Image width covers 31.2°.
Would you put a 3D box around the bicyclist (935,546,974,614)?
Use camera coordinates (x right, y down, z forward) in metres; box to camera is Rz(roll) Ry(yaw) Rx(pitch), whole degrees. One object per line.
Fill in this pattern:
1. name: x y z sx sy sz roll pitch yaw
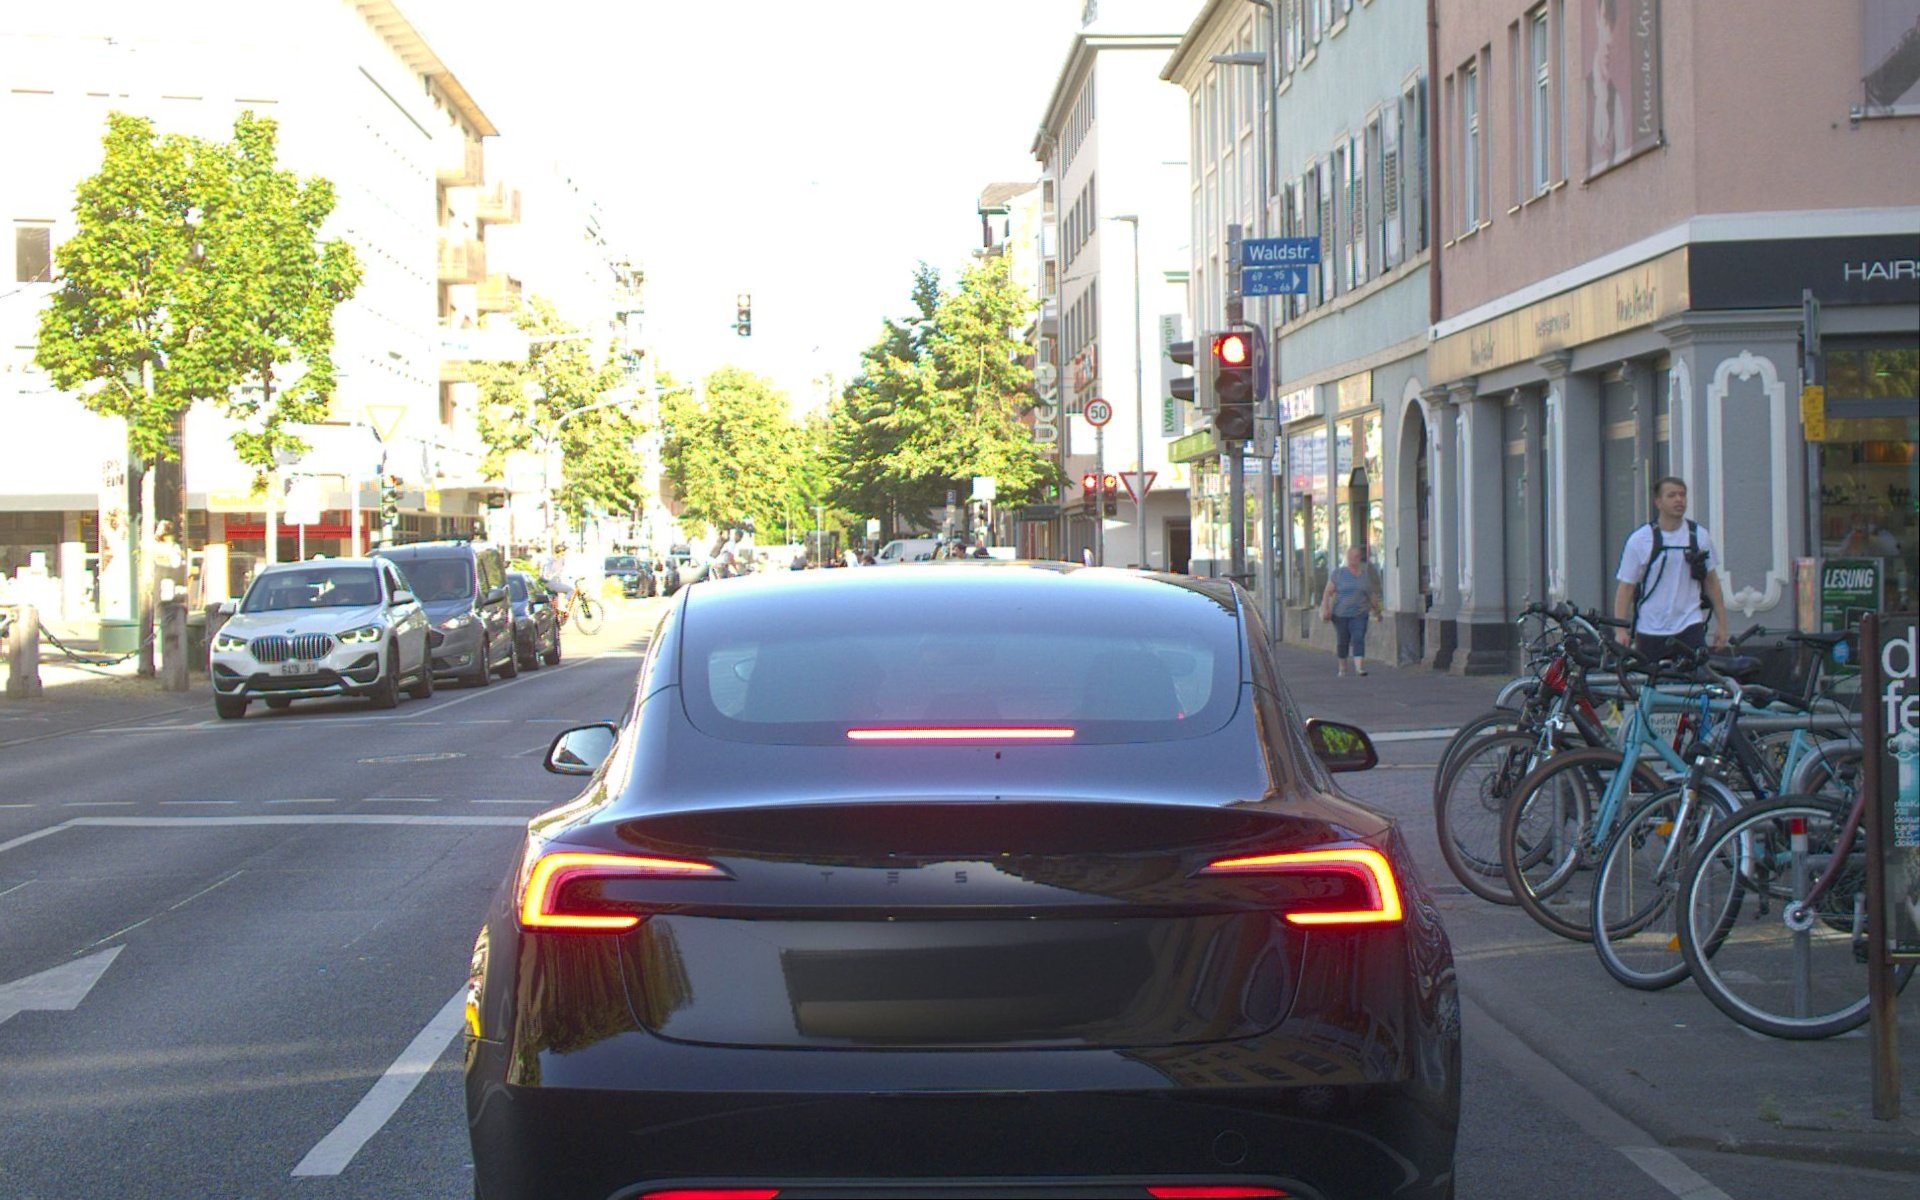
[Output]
1. bicyclist: -0.107 -0.407 69.940 0.669 1.390 0.462 1 0 -16

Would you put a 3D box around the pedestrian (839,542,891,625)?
1. pedestrian: -1.865 -0.327 67.388 0.754 1.626 0.956 1 0 -18

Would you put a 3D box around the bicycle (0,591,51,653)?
1. bicycle: -14.813 0.331 52.205 1.864 0.931 0.606 0 1 -1

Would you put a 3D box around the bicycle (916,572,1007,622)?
1. bicycle: 0.027 -0.060 69.982 1.784 1.003 0.472 1 0 -16

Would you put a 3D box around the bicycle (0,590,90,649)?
1. bicycle: -14.841 0.306 54.654 1.864 0.931 0.606 0 1 -1

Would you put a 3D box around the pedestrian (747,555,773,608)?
1. pedestrian: -5.388 -0.497 92.672 0.521 1.417 0.479 1 0 -30

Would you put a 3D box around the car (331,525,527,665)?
1. car: -6.508 -0.092 42.518 1.787 1.640 4.403 0 1 -1

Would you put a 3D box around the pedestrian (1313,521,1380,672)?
1. pedestrian: 4.490 -0.045 39.969 0.706 1.736 0.540 0 1 -1

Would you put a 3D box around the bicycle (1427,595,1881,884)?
1. bicycle: 2.959 0.592 14.769 1.828 1.165 0.505 -2 0 5

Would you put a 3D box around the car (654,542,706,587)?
1. car: -9.673 -1.241 118.535 1.706 1.546 3.697 0 1 -6

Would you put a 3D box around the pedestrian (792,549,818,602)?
1. pedestrian: -4.170 -0.664 92.409 0.521 1.417 0.479 1 0 -30

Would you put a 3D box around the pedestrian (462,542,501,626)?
1. pedestrian: -8.821 -0.296 63.387 0.622 1.532 0.514 1 0 -18

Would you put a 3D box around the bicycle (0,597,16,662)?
1. bicycle: -14.701 0.419 49.855 1.864 0.931 0.606 1 0 -1

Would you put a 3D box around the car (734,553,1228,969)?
1. car: 0.006 0.534 13.855 1.718 1.420 3.758 0 1 -2

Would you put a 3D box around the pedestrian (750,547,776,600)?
1. pedestrian: -5.273 -0.712 91.878 0.521 1.417 0.479 1 0 -30

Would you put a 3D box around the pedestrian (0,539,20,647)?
1. pedestrian: -18.168 -0.147 64.234 1.057 2.007 1.055 1 0 -20

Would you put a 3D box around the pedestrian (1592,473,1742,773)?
1. pedestrian: 4.240 0.132 20.665 0.750 1.759 0.836 1 0 4

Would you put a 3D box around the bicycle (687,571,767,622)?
1. bicycle: -4.757 -0.071 70.249 1.556 1.009 0.484 1 0 -24

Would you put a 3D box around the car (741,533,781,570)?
1. car: -10.817 -2.646 187.180 1.993 2.007 4.000 0 1 -1

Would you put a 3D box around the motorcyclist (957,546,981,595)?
1. motorcyclist: 0.235 -0.762 88.631 0.489 1.249 0.355 0 0 -38

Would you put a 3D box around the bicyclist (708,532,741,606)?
1. bicyclist: -4.812 -0.639 70.160 0.522 1.498 0.476 1 0 -24

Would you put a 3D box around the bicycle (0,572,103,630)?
1. bicycle: -20.696 0.015 78.038 2.361 1.291 0.513 1 0 -26

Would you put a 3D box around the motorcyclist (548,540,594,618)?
1. motorcyclist: -7.626 -0.418 67.418 0.719 1.523 0.516 -1 1 -36

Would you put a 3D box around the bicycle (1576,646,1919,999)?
1. bicycle: 2.989 0.703 11.162 1.873 1.084 0.414 -2 0 4

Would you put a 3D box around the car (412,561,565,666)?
1. car: -6.789 0.175 49.846 1.715 1.441 3.845 1 1 -1

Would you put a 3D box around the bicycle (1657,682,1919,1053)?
1. bicycle: 3.009 0.755 9.988 1.873 1.034 0.353 -2 0 6

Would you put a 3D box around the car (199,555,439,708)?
1. car: -6.684 0.291 36.182 1.789 1.455 3.757 -2 1 0

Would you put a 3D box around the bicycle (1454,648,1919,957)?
1. bicycle: 2.770 0.720 12.433 1.873 1.034 0.533 -2 0 4

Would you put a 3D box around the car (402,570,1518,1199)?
1. car: -0.023 0.657 7.619 1.822 1.437 4.000 0 1 -1

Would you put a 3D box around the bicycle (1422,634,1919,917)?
1. bicycle: 2.810 0.689 13.650 1.873 1.034 0.547 -2 0 5

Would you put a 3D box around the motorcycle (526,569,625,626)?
1. motorcycle: -7.542 -0.054 67.486 1.927 1.107 0.519 -1 1 -37
